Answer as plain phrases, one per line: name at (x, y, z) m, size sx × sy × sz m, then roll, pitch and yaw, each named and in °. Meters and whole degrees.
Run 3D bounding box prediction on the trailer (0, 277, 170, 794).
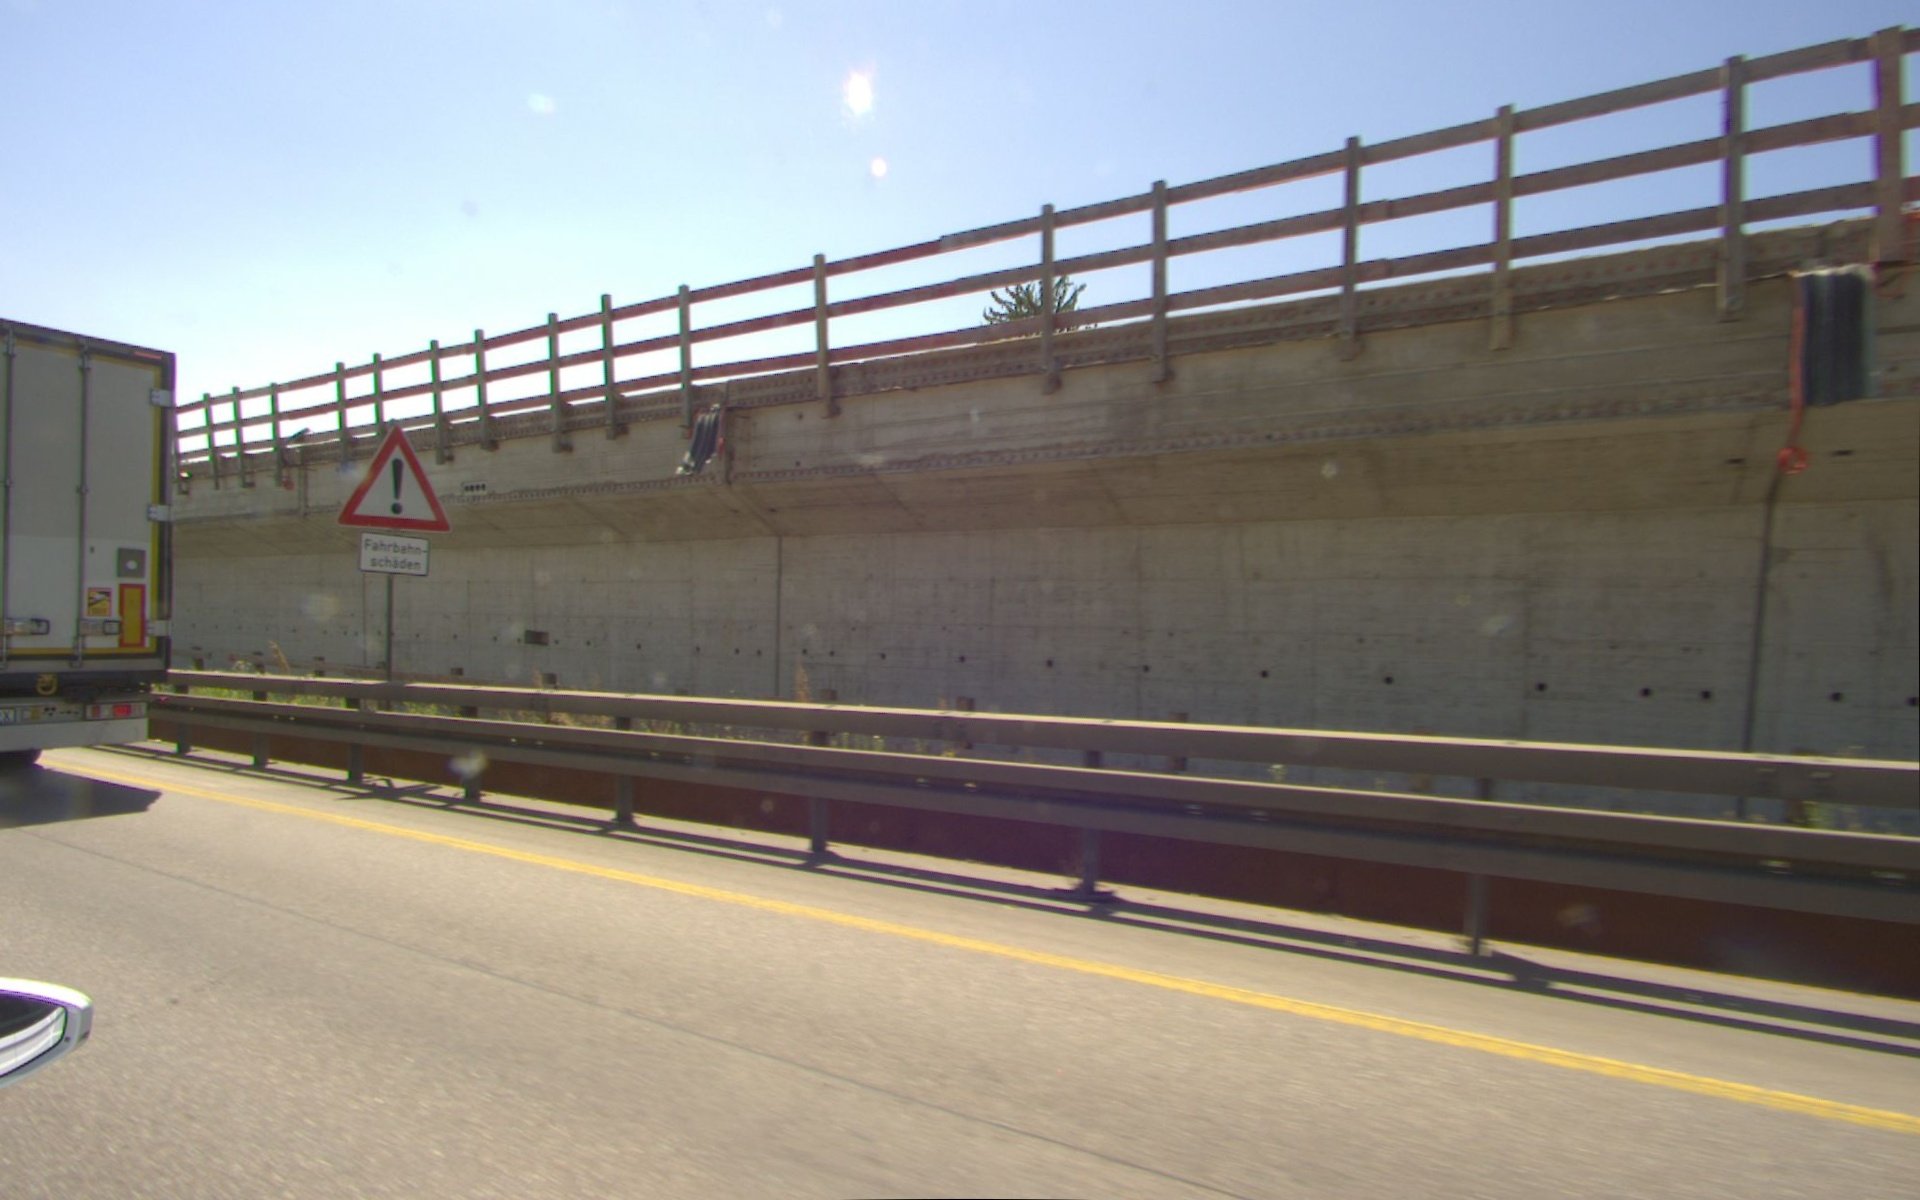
trailer at (-12.632, -0.415, 11.031) m, size 11.384 × 4.179 × 2.527 m, roll -1°, pitch -2°, yaw 32°
